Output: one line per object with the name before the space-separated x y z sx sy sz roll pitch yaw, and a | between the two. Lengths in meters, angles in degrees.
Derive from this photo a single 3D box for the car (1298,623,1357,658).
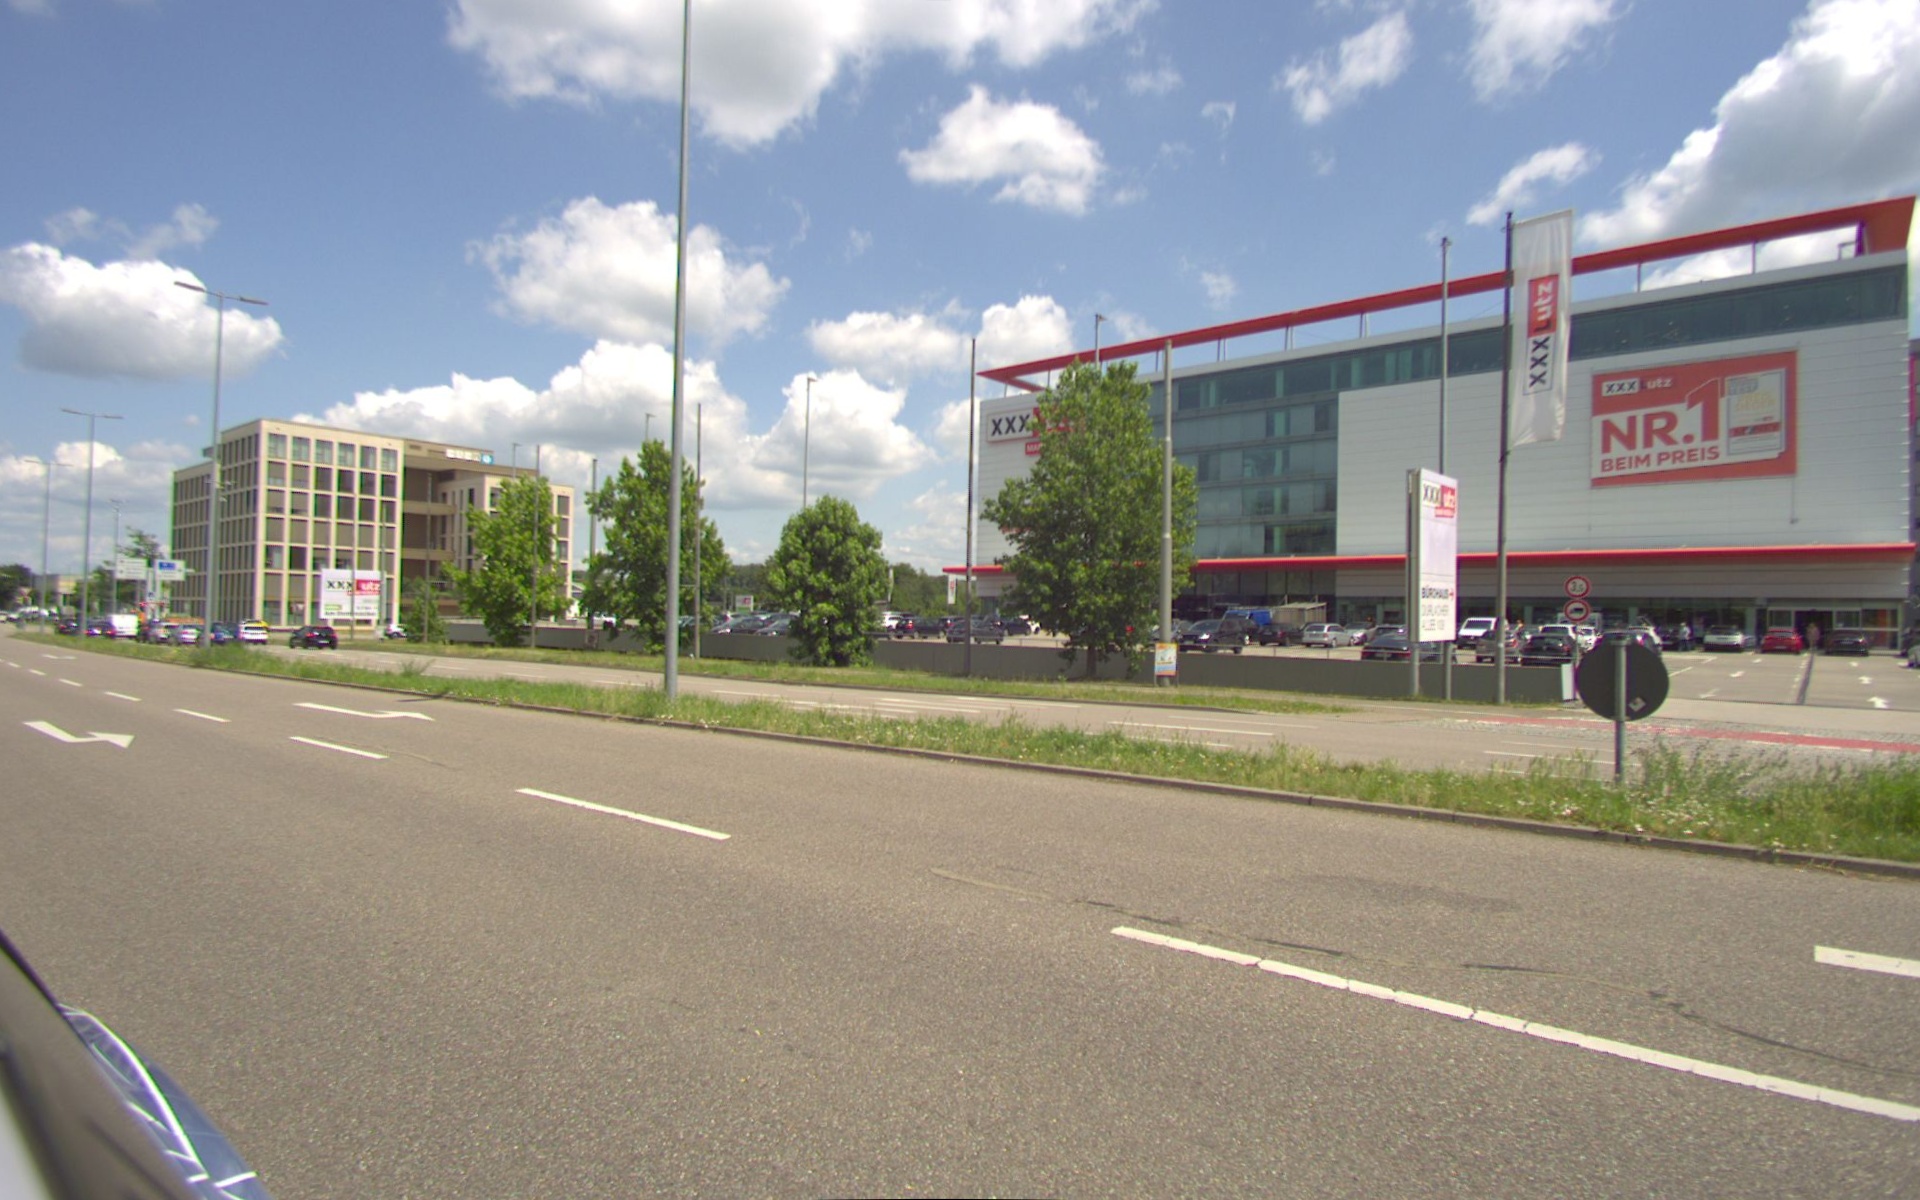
car | 22.005 2.432 60.469 1.998 2.004 4.304 -1 -3 40

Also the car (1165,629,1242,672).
car | 12.016 2.455 49.748 1.998 2.004 4.304 -1 -3 40

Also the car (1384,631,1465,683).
car | 19.412 2.344 42.218 1.998 2.004 4.304 -1 -3 40

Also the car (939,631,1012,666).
car | 0.923 2.839 58.989 1.998 2.004 4.304 -3 -4 40

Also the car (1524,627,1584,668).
car | 30.906 2.466 52.620 1.998 2.004 4.304 -1 -3 40

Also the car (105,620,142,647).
car | -65.907 2.646 79.754 3.577 2.059 1.836 -2 -4 44

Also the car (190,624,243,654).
car | -40.123 2.087 54.562 3.678 1.486 1.719 0 -3 45

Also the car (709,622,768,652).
car | -17.944 3.036 82.232 2.000 2.347 4.301 -1 -3 43

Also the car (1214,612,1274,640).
car | 19.670 1.838 69.970 2.197 1.792 5.066 -2 -3 39

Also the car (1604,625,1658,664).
car | 36.341 2.398 54.763 1.999 2.029 3.946 -2 -3 40

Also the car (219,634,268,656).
car | -51.086 3.213 72.130 4.352 1.484 1.604 -2 -4 38

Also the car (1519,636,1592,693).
car | 23.249 2.443 39.431 1.841 2.004 4.030 -1 -1 40

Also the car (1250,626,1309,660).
car | 19.656 2.660 62.242 1.998 2.004 4.304 -1 -3 40

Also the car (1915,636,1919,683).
car | 42.283 2.572 43.149 1.998 2.004 4.304 -1 -3 40

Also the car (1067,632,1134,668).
car | 8.323 2.942 59.887 1.990 2.058 4.243 -1 -3 40

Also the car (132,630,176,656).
car | -55.880 2.984 70.122 4.227 1.714 1.772 -2 -4 43

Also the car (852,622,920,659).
car | -4.842 2.671 66.330 1.998 2.347 4.304 -1 -3 40

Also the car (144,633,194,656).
car | -51.063 2.886 65.284 4.845 1.413 1.772 -2 -4 43

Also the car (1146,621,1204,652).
car | 14.293 2.437 67.052 1.998 2.004 4.304 -1 -3 40

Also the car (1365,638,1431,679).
car | 21.019 2.764 48.453 1.776 1.844 4.304 -1 -3 40

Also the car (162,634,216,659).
car | -46.298 2.783 60.730 4.674 1.429 1.772 -2 -3 43

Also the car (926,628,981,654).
car | -0.501 3.234 79.991 1.998 2.004 4.304 -1 -3 40

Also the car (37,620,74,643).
car | -68.610 2.411 76.778 4.172 1.657 1.771 -2 -4 44

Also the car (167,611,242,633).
car | -87.154 2.575 116.831 6.422 2.347 2.862 1 -4 -26

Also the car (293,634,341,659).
car | -39.267 2.823 61.753 1.600 1.481 4.119 3 -4 -44

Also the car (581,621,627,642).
car | -32.920 2.950 93.570 4.671 1.847 1.831 -2 -3 40

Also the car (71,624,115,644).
car | -59.287 2.337 69.167 4.307 1.260 1.772 -2 -4 43

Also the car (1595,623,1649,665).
car | 33.062 2.200 50.523 1.776 2.029 3.946 -2 -3 40

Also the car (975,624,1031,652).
car | 3.257 2.864 76.405 1.998 2.004 4.304 -1 -3 40

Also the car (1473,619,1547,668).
car | 24.275 1.896 44.579 1.998 2.029 4.764 -1 -3 39

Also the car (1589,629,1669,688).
car | 24.946 2.110 37.696 1.998 2.004 4.304 -1 -2 40

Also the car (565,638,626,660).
car | -28.182 3.787 78.291 1.919 1.608 3.942 -2 -4 43

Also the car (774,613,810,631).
car | -18.328 2.445 110.346 3.830 1.847 1.831 -2 -3 40
